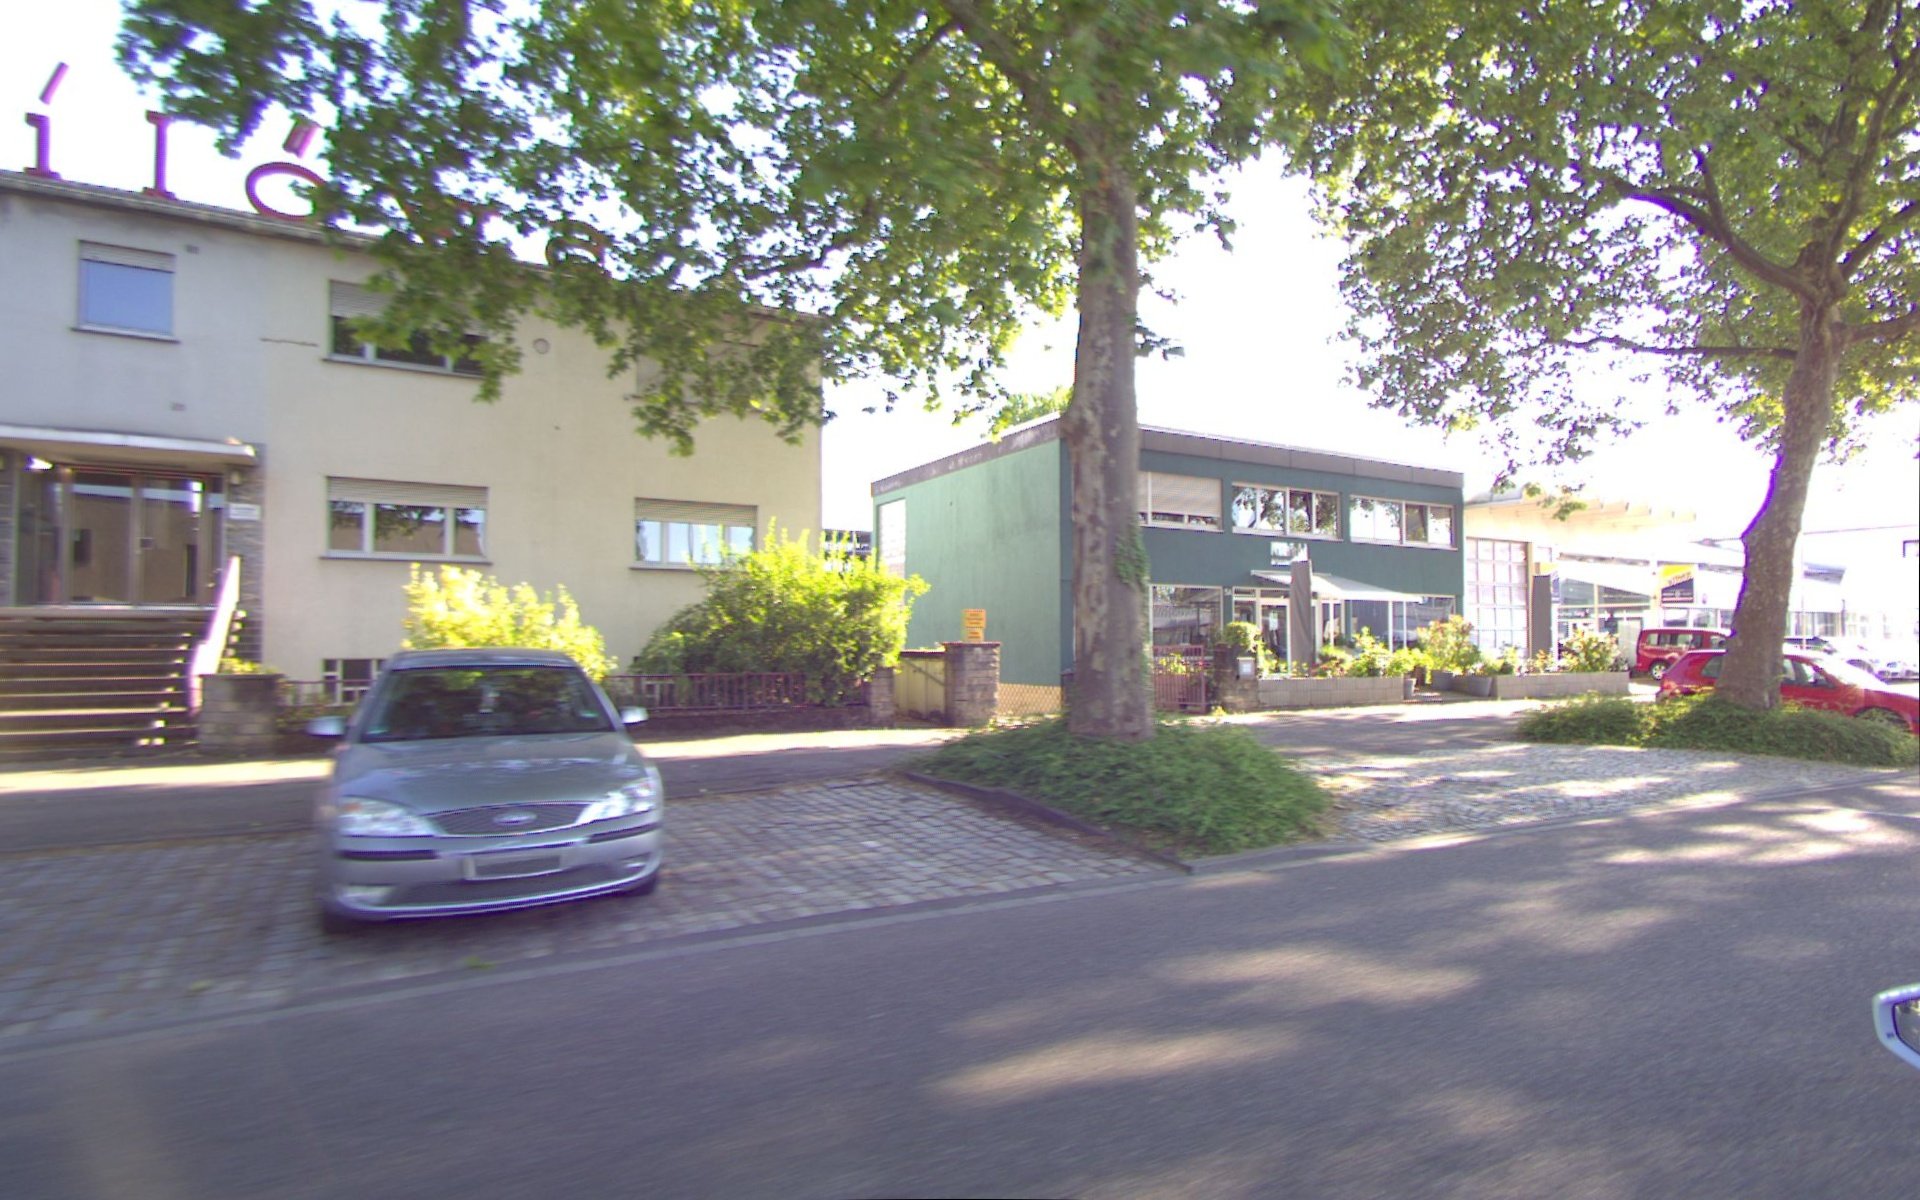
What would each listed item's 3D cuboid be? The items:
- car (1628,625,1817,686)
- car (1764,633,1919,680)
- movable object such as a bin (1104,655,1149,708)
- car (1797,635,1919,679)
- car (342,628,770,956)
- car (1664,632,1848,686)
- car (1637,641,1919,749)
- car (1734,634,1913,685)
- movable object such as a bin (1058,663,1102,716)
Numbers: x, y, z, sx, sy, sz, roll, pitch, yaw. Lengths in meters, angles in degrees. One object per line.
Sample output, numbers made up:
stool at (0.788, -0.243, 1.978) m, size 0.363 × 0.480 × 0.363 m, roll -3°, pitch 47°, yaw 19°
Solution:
car at (25.519, 1.813, 33.805) m, size 1.977 × 1.843 × 4.723 m, roll 2°, pitch -1°, yaw -30°
car at (34.054, 2.109, 38.545) m, size 1.906 × 1.613 × 4.638 m, roll 2°, pitch -1°, yaw -30°
movable object such as a bin at (3.680, 1.795, 22.238) m, size 0.629 × 1.114 × 0.786 m, roll 2°, pitch -1°, yaw -30°
car at (36.332, 2.242, 39.897) m, size 1.815 × 1.574 × 4.442 m, roll 2°, pitch -1°, yaw -30°
car at (-3.001, 0.935, 6.965) m, size 1.976 × 1.441 × 4.580 m, roll 0°, pitch -2°, yaw -29°
car at (27.783, 2.012, 35.224) m, size 1.977 × 1.655 × 4.690 m, roll 2°, pitch -1°, yaw -30°
car at (14.048, 1.480, 16.656) m, size 1.976 × 1.465 × 4.277 m, roll 2°, pitch -1°, yaw -29°
car at (32.011, 2.157, 37.377) m, size 1.977 × 1.664 × 4.695 m, roll 2°, pitch -1°, yaw -30°
movable object such as a bin at (2.676, 1.984, 22.426) m, size 0.629 × 1.114 × 0.786 m, roll 2°, pitch -1°, yaw -30°
